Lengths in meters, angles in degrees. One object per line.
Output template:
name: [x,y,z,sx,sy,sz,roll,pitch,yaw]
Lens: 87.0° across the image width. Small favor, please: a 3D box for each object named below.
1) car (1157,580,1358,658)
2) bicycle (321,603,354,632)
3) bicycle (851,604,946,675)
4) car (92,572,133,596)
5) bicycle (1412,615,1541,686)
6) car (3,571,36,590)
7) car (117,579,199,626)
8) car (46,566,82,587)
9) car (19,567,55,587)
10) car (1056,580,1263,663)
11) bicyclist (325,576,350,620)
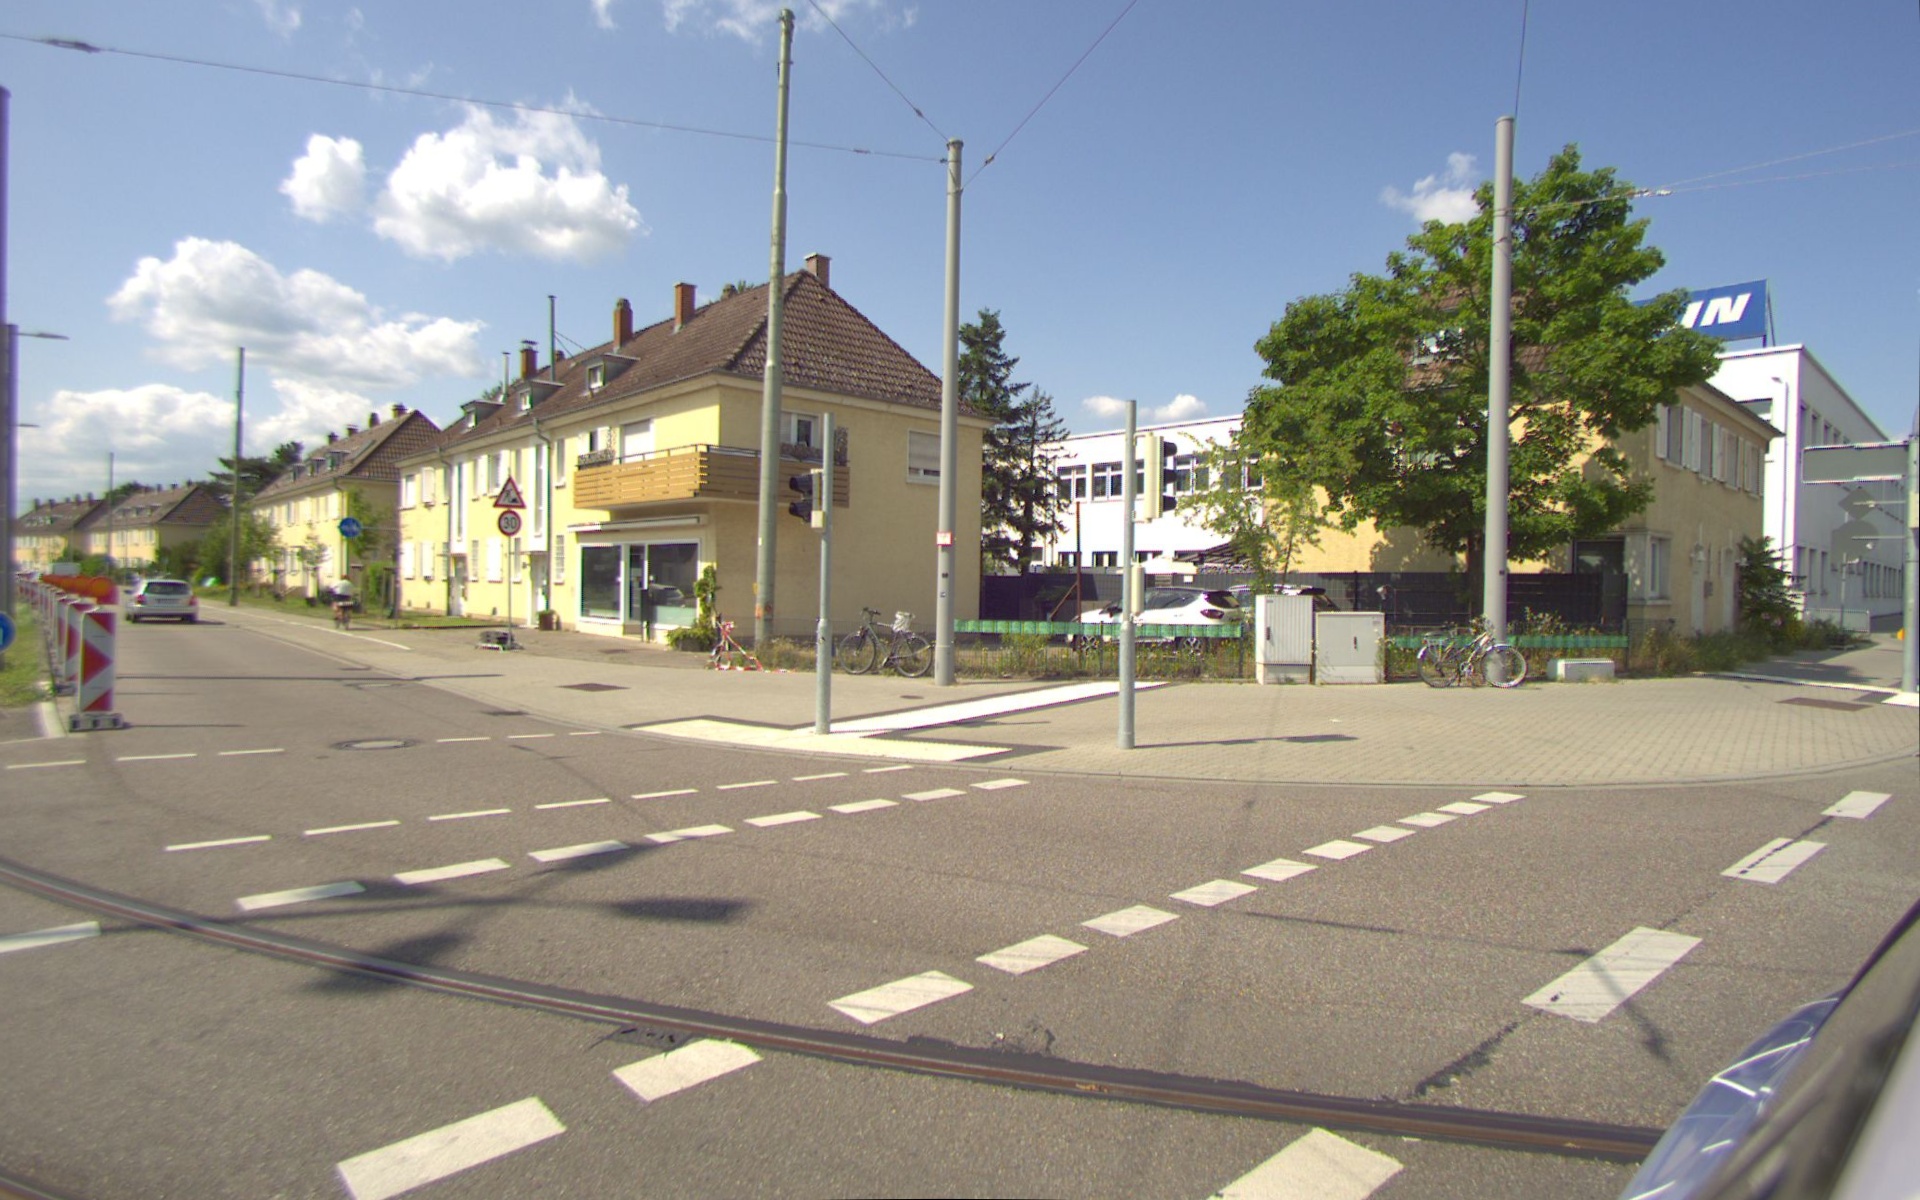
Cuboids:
car: [6.745,0.375,23.226,4.106,1.617,1.772,1,0,44]
bicycle: [-18.214,0.495,29.587,0.497,0.791,1.580,-1,2,-44]
bicycle: [-1.037,0.659,16.971,1.555,1.152,0.378,-1,0,23]
car: [-63.846,-1.187,76.232,3.986,1.746,1.969,-1,0,44]
bicycle: [7.943,0.770,15.590,1.722,1.031,0.463,-1,0,0]
car: [-93.284,-1.955,100.361,3.982,1.746,1.971,-1,0,41]
car: [-26.224,0.048,33.044,1.707,1.421,4.006,1,0,-44]
car: [-77.140,-2.010,87.082,3.986,1.746,1.969,-1,0,44]
car: [-84.829,-2.068,92.988,3.982,1.746,1.971,-1,0,41]
car: [4.220,0.389,21.834,4.106,1.617,1.772,1,0,44]
bicyclist: [-18.166,-0.071,29.553,0.501,1.249,0.577,-1,1,-45]
